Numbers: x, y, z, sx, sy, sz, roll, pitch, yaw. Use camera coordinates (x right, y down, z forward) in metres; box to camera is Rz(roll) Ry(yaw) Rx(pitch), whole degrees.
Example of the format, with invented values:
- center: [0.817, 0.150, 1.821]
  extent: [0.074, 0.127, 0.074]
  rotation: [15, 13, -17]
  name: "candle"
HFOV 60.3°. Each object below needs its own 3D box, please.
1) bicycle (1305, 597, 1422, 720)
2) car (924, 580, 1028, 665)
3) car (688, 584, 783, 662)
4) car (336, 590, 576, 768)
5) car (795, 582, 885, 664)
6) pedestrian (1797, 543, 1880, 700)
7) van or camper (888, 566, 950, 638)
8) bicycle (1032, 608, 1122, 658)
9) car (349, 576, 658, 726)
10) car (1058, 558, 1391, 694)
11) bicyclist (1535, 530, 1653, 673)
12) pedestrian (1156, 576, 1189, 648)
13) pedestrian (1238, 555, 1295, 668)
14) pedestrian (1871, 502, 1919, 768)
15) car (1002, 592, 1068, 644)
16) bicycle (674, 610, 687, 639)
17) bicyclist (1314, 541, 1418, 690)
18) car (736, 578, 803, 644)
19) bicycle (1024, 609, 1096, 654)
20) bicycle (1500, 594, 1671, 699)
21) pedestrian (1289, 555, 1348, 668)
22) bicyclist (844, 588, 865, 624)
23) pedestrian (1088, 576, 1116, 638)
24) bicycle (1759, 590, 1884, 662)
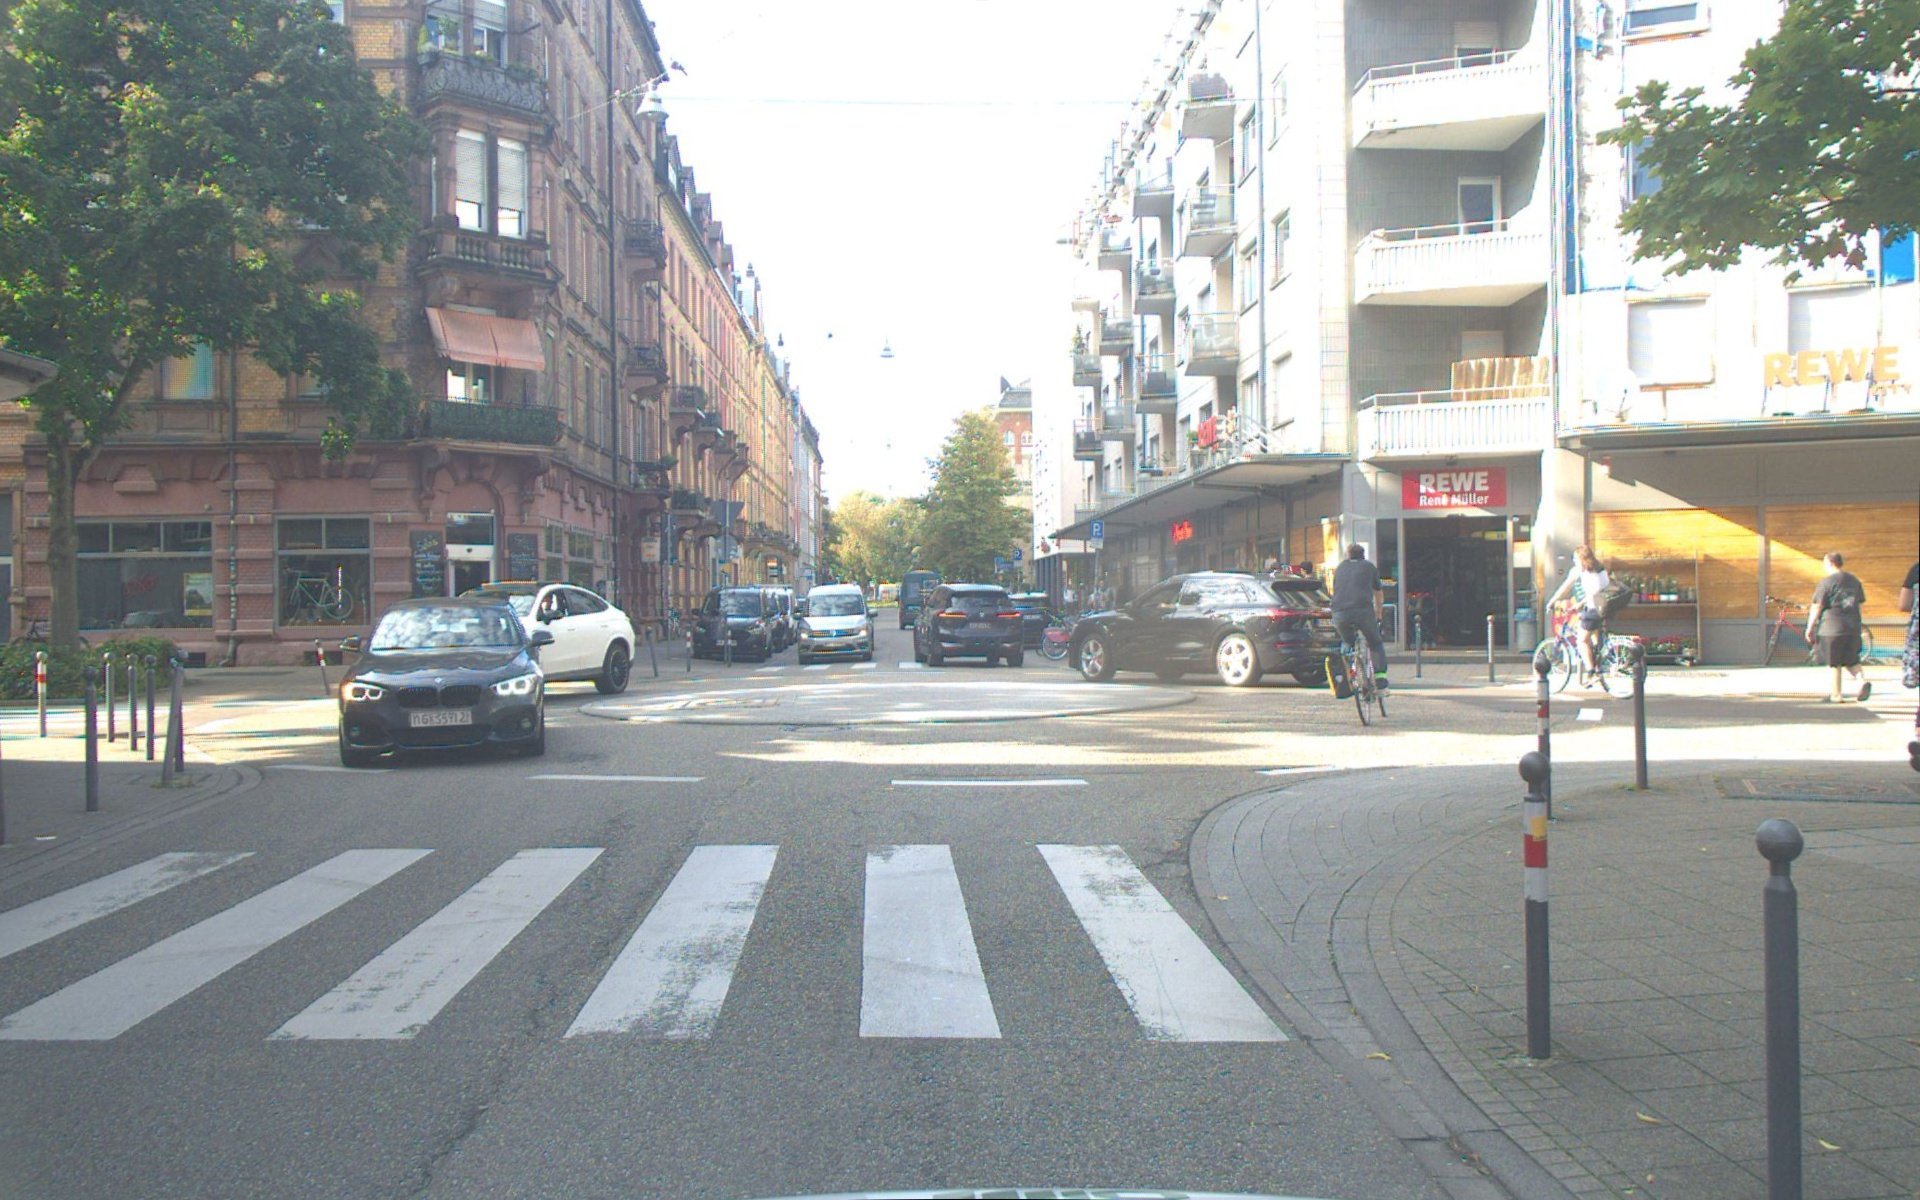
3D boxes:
- center: [4.299, 0.581, 17.490]
  extent: [0.653, 1.198, 2.494]
  rotation: [0, 0, 27]
  name: "bicycle"
- center: [0.281, 0.430, 34.716]
  extent: [1.954, 1.646, 3.998]
  rotation: [-1, 0, -3]
  name: "car"
- center: [-5.632, 0.529, 41.884]
  extent: [1.746, 1.754, 4.445]
  rotation: [1, 2, 0]
  name: "car"
- center: [-4.656, 0.671, 15.818]
  extent: [1.718, 1.461, 4.200]
  rotation: [0, -1, -11]
  name: "car"
- center: [-2.868, 0.512, 40.375]
  extent: [1.756, 1.822, 4.736]
  rotation: [-2, 0, 0]
  name: "car"
- center: [10.178, 0.245, 19.177]
  extent: [0.615, 1.769, 0.776]
  rotation: [-1, 0, 10]
  name: "pedestrian"
- center: [-1.879, 0.075, 73.566]
  extent: [2.482, 3.090, 4.455]
  rotation: [-1, 0, -4]
  name: "van or camper"
- center: [2.634, 0.740, 37.317]
  extent: [1.959, 1.063, 0.532]
  rotation: [-1, 0, 0]
  name: "bicycle"
- center: [-6.271, 0.625, 23.433]
  extent: [1.901, 1.752, 4.854]
  rotation: [-2, 2, 16]
  name: "car"
- center: [3.839, 0.336, 24.739]
  extent: [2.023, 1.754, 4.776]
  rotation: [-3, 2, -39]
  name: "car"
- center: [7.796, 0.010, 20.364]
  extent: [0.933, 1.697, 1.003]
  rotation: [-1, 0, -36]
  name: "bicyclist"
- center: [4.986, 0.286, 38.773]
  extent: [0.729, 1.657, 0.813]
  rotation: [-1, 0, 9]
  name: "pedestrian"
- center: [5.167, 0.193, 27.906]
  extent: [0.851, 1.883, 0.613]
  rotation: [-1, 0, 3]
  name: "pedestrian"
- center: [6.836, 0.231, 11.497]
  extent: [0.768, 1.811, 0.790]
  rotation: [-1, 0, 36]
  name: "pedestrian"
- center: [2.131, 0.487, 47.781]
  extent: [1.612, 1.347, 3.576]
  rotation: [-3, 0, -1]
  name: "car"
- center: [-9.616, 0.839, 56.974]
  extent: [0.353, 0.963, 1.713]
  rotation: [0, 0, -7]
  name: "bicycle"
- center: [4.261, 0.152, 17.339]
  extent: [0.915, 1.510, 0.746]
  rotation: [0, 0, 27]
  name: "bicyclist"
- center: [-6.198, 0.338, 54.207]
  extent: [1.954, 2.049, 3.996]
  rotation: [-1, 0, -4]
  name: "car"
- center: [2.434, 0.749, 40.172]
  extent: [1.774, 1.045, 0.671]
  rotation: [-1, 0, -40]
  name: "bicycle"
- center: [7.732, 0.551, 20.520]
  extent: [0.703, 1.220, 1.953]
  rotation: [-1, 0, -32]
  name: "bicycle"
- center: [6.030, 0.190, 27.850]
  extent: [0.851, 1.883, 0.613]
  rotation: [-1, 0, 3]
  name: "pedestrian"
- center: [-6.075, 0.326, 95.197]
  extent: [1.111, 2.033, 1.027]
  rotation: [2, -1, -7]
  name: "bicyclist"
- center: [4.381, 0.215, 50.958]
  extent: [0.715, 1.897, 1.063]
  rotation: [-1, 0, 13]
  name: "pedestrian"
- center: [13.295, 0.397, 25.550]
  extent: [1.652, 1.069, 0.456]
  rotation: [-1, 0, 38]
  name: "bicycle"
